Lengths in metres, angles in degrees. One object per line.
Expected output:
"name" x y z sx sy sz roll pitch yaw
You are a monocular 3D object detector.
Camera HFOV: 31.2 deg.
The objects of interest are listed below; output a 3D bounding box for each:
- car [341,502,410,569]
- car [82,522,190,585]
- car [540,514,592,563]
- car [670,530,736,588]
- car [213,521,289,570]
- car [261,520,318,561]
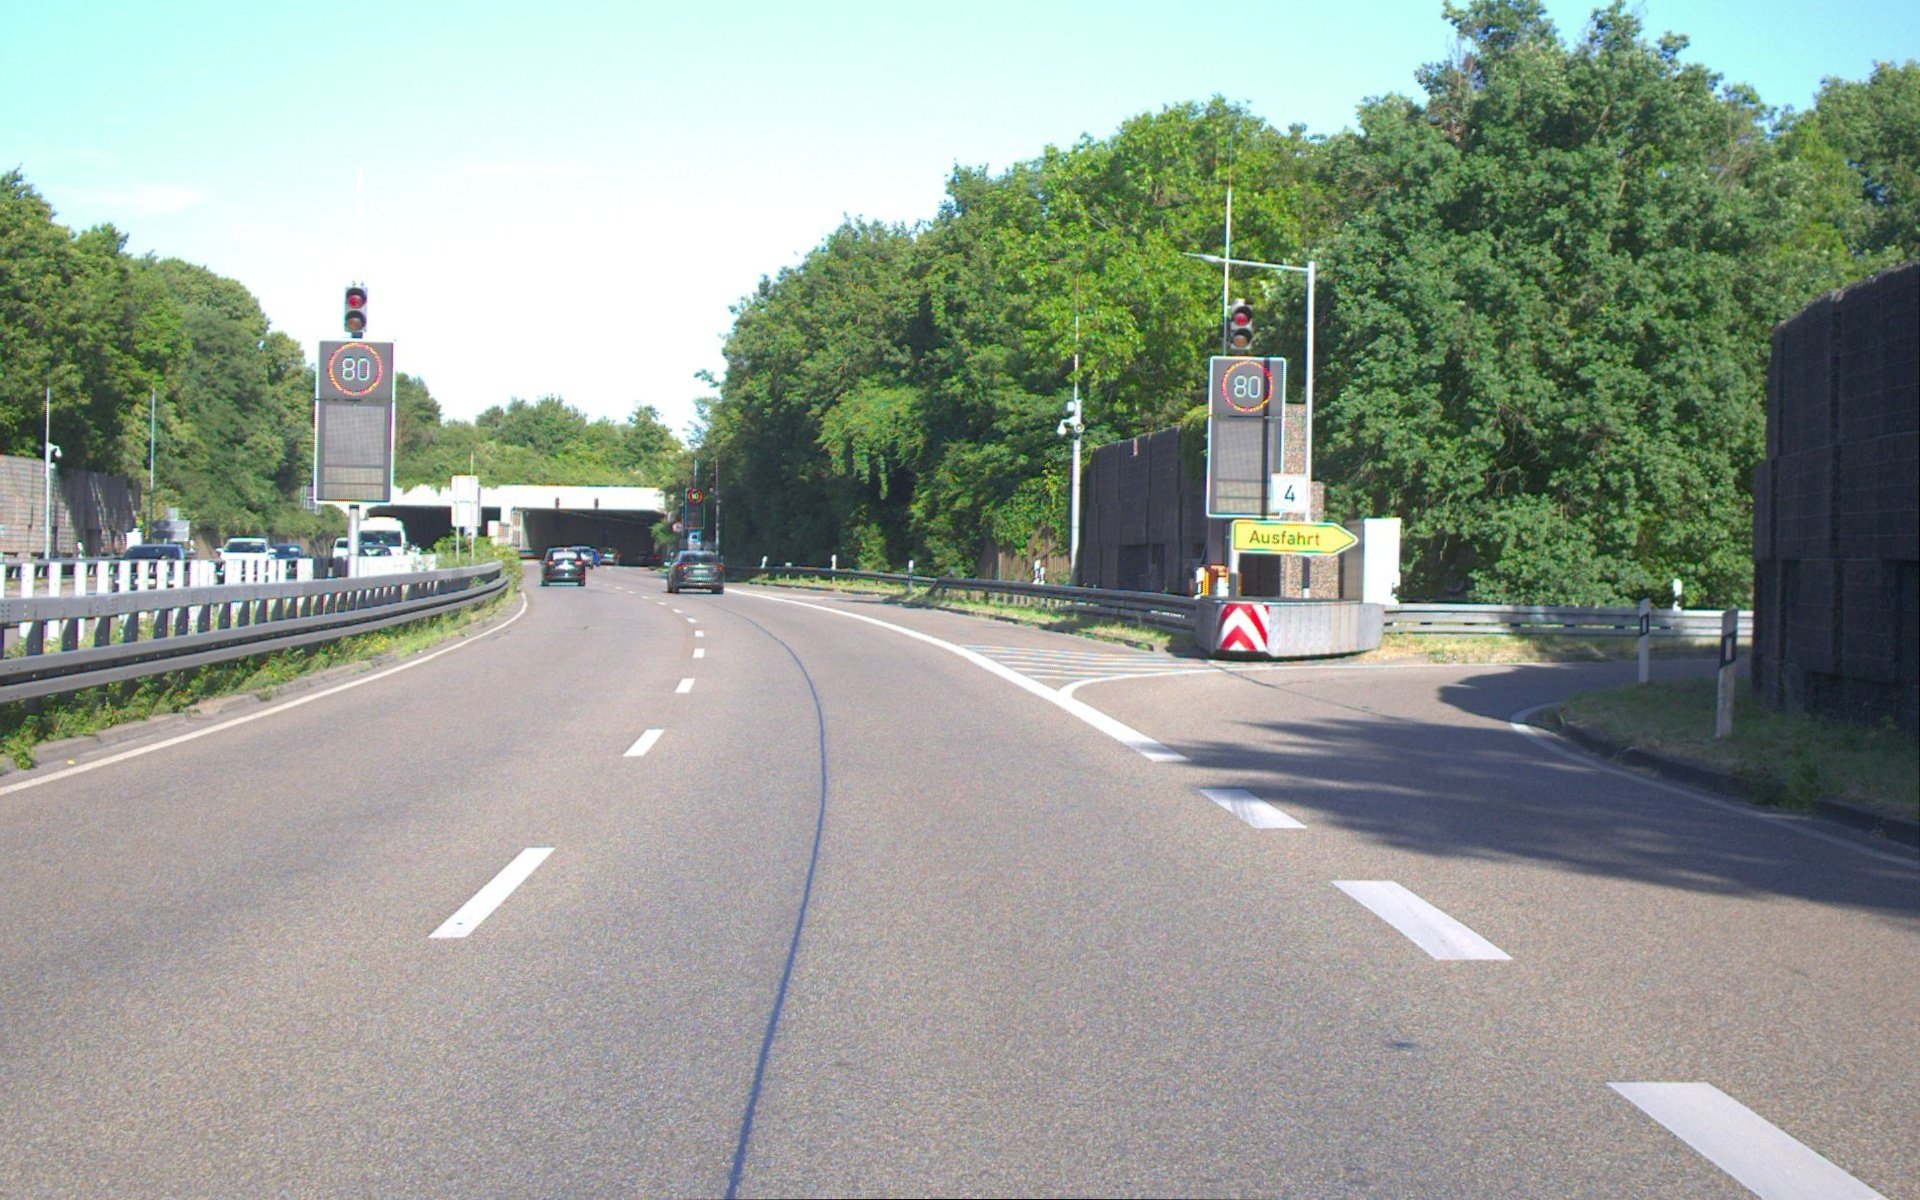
"car" -24.621 -2.749 145.018 2.120 2.674 6.589 3 1 -4
"car" -21.565 -1.231 90.094 1.993 1.475 4.535 3 1 -4
"car" -16.207 -2.526 141.263 1.993 1.919 4.001 2 1 -8
"car" -8.972 -1.444 119.876 1.993 1.919 4.001 2 1 -8
"car" -25.101 -1.940 121.819 1.993 1.590 4.622 3 1 -4
"car" -28.822 -2.580 147.927 1.901 1.614 4.697 3 1 -6
